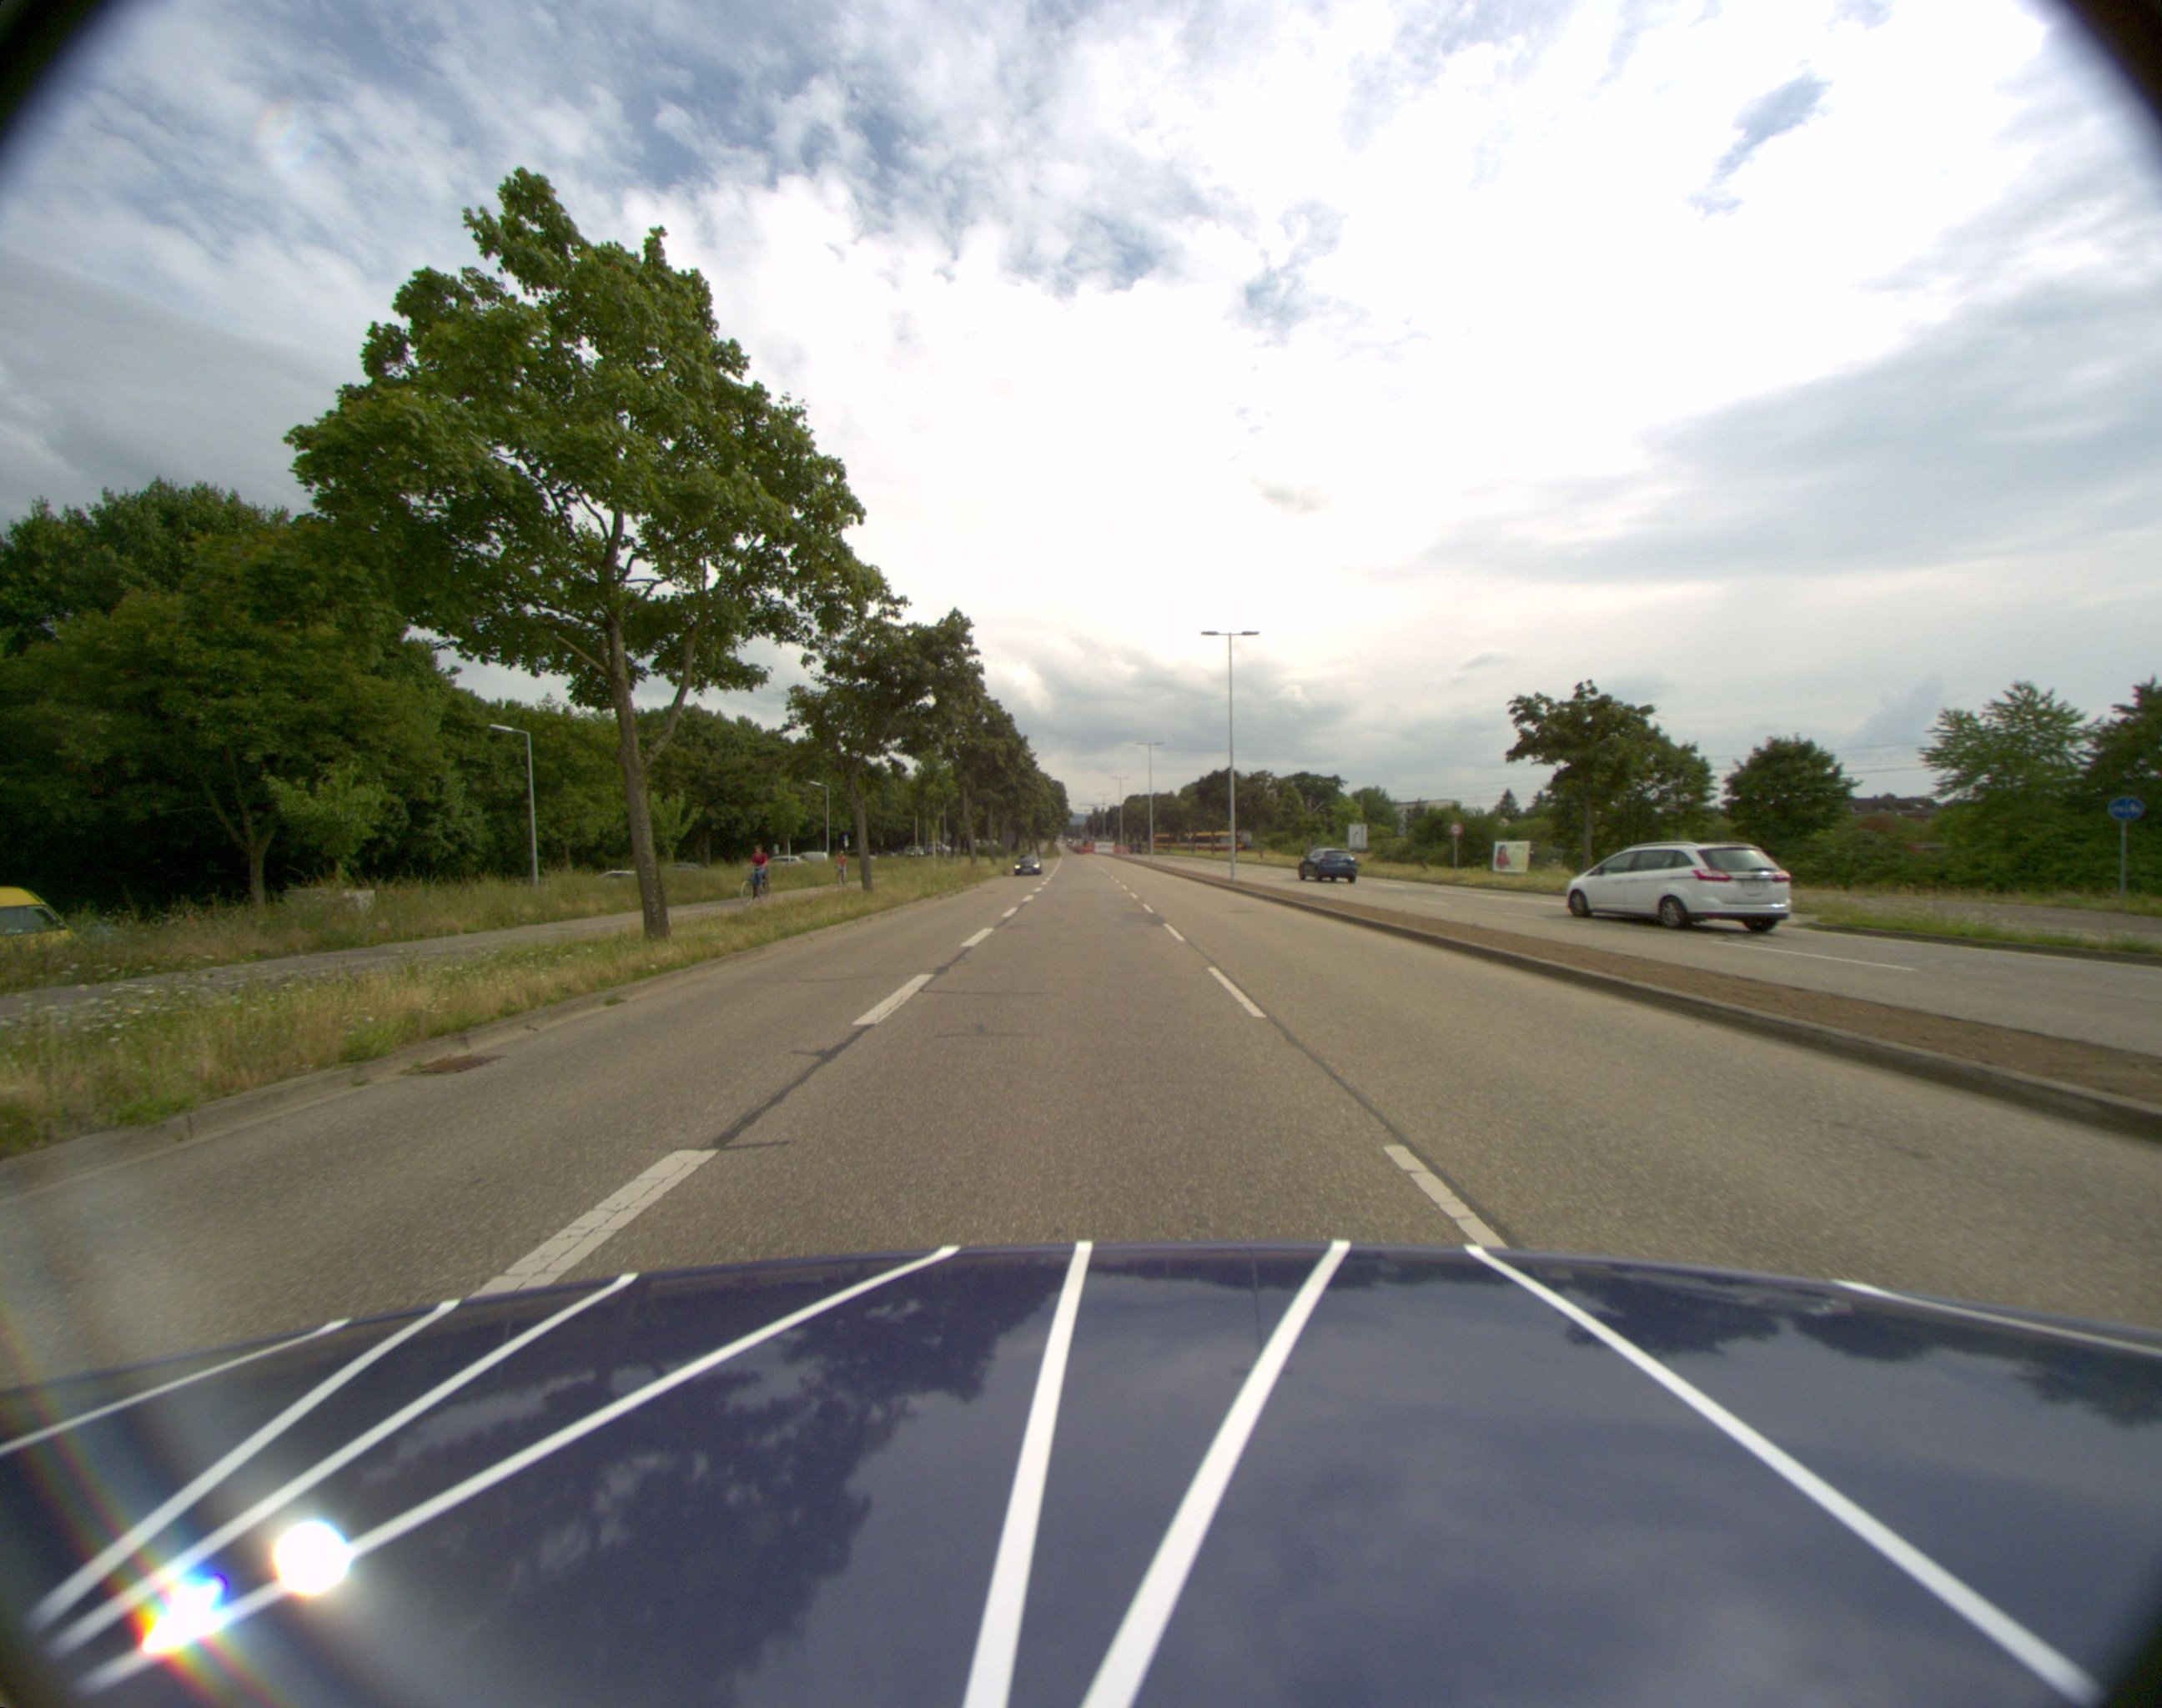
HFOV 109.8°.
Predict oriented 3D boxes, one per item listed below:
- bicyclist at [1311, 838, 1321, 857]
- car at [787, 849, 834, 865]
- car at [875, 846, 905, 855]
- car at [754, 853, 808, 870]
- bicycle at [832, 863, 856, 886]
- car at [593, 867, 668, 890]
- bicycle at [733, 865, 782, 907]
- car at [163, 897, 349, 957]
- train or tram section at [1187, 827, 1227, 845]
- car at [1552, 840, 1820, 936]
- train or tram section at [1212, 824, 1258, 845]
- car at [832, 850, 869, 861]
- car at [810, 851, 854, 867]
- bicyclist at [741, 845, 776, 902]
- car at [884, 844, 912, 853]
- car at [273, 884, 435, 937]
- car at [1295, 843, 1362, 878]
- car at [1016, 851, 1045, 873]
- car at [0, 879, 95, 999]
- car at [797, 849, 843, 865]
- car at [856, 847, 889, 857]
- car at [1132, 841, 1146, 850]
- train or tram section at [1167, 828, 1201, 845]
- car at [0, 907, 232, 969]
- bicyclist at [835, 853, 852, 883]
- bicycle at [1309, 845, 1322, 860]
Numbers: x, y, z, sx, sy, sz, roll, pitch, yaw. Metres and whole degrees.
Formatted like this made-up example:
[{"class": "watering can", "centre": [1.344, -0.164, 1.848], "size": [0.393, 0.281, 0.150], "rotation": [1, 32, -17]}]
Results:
[{"class": "bicyclist", "centre": [22.386, -0.588, 72.466], "size": [0.645, 1.821, 0.819], "rotation": [0, 1, 0]}, {"class": "car", "centre": [-26.010, 0.267, 73.225], "size": [3.999, 1.547, 1.650], "rotation": [0, 1, -5]}, {"class": "car", "centre": [-27.781, -0.537, 110.684], "size": [3.999, 1.358, 1.618], "rotation": [0, 1, -5]}, {"class": "car", "centre": [-25.985, 0.682, 65.914], "size": [3.999, 1.435, 1.650], "rotation": [0, 1, -5]}, {"class": "bicycle", "centre": [-10.503, 0.900, 33.724], "size": [0.515, 0.959, 1.782], "rotation": [0, 1, 0]}, {"class": "car", "centre": [-25.998, 1.400, 43.928], "size": [3.448, 1.184, 1.357], "rotation": [-1, 1, -5]}, {"class": "bicycle", "centre": [-9.679, 0.925, 22.831], "size": [0.515, 1.141, 2.231], "rotation": [0, 1, 0]}, {"class": "car", "centre": [-27.698, 2.428, 25.619], "size": [3.997, 1.783, 1.999], "rotation": [0, 1, -1]}, {"class": "train or tram section", "centre": [24.335, -3.414, 147.264], "size": [2.924, 3.402, 11.930], "rotation": [-2, 1, -15]}, {"class": "car", "centre": [12.044, 0.563, 15.643], "size": [1.773, 1.644, 4.637], "rotation": [1, 1, 0]}, {"class": "train or tram section", "centre": [27.350, -3.412, 135.587], "size": [2.924, 3.402, 11.930], "rotation": [-2, 1, -14]}, {"class": "car", "centre": [-27.747, 0.182, 91.569], "size": [3.999, 1.358, 1.618], "rotation": [0, 1, -5]}, {"class": "car", "centre": [-25.771, 0.479, 78.749], "size": [3.998, 1.576, 1.803], "rotation": [0, 1, -3]}, {"class": "bicyclist", "centre": [-9.644, 0.577, 22.755], "size": [0.653, 1.648, 0.781], "rotation": [-2, 2, 0]}, {"class": "car", "centre": [-28.441, -0.850, 118.376], "size": [3.999, 1.358, 1.618], "rotation": [0, 1, -5]}, {"class": "car", "centre": [-26.851, 2.074, 28.176], "size": [3.997, 1.783, 1.999], "rotation": [0, 1, -1]}, {"class": "car", "centre": [12.297, 0.293, 38.041], "size": [1.852, 1.644, 4.563], "rotation": [0, 1, 0]}, {"class": "car", "centre": [-3.441, 0.519, 52.422], "size": [1.773, 1.439, 4.323], "rotation": [-1, 1, -1]}, {"class": "car", "centre": [-26.816, 1.992, 18.008], "size": [4.541, 2.655, 1.926], "rotation": [-1, 1, 3]}, {"class": "car", "centre": [-26.244, 0.322, 76.543], "size": [3.998, 1.576, 1.803], "rotation": [0, 1, -3]}, {"class": "car", "centre": [-27.819, -0.297, 101.305], "size": [3.999, 1.358, 1.618], "rotation": [0, 1, -5]}, {"class": "car", "centre": [10.387, -1.474, 135.517], "size": [1.852, 1.644, 4.257], "rotation": [0, 1, -4]}, {"class": "train or tram section", "centre": [21.416, -3.558, 158.886], "size": [2.924, 3.402, 11.930], "rotation": [-2, 1, -14]}, {"class": "car", "centre": [-26.852, 2.307, 21.261], "size": [3.996, 1.499, 2.000], "rotation": [0, 1, 2]}, {"class": "bicyclist", "centre": [-10.498, 0.608, 33.586], "size": [0.540, 1.275, 0.450], "rotation": [-2, 2, 0]}, {"class": "bicycle", "centre": [22.360, -0.180, 72.527], "size": [0.537, 1.414, 2.166], "rotation": [1, 1, 1]}]
